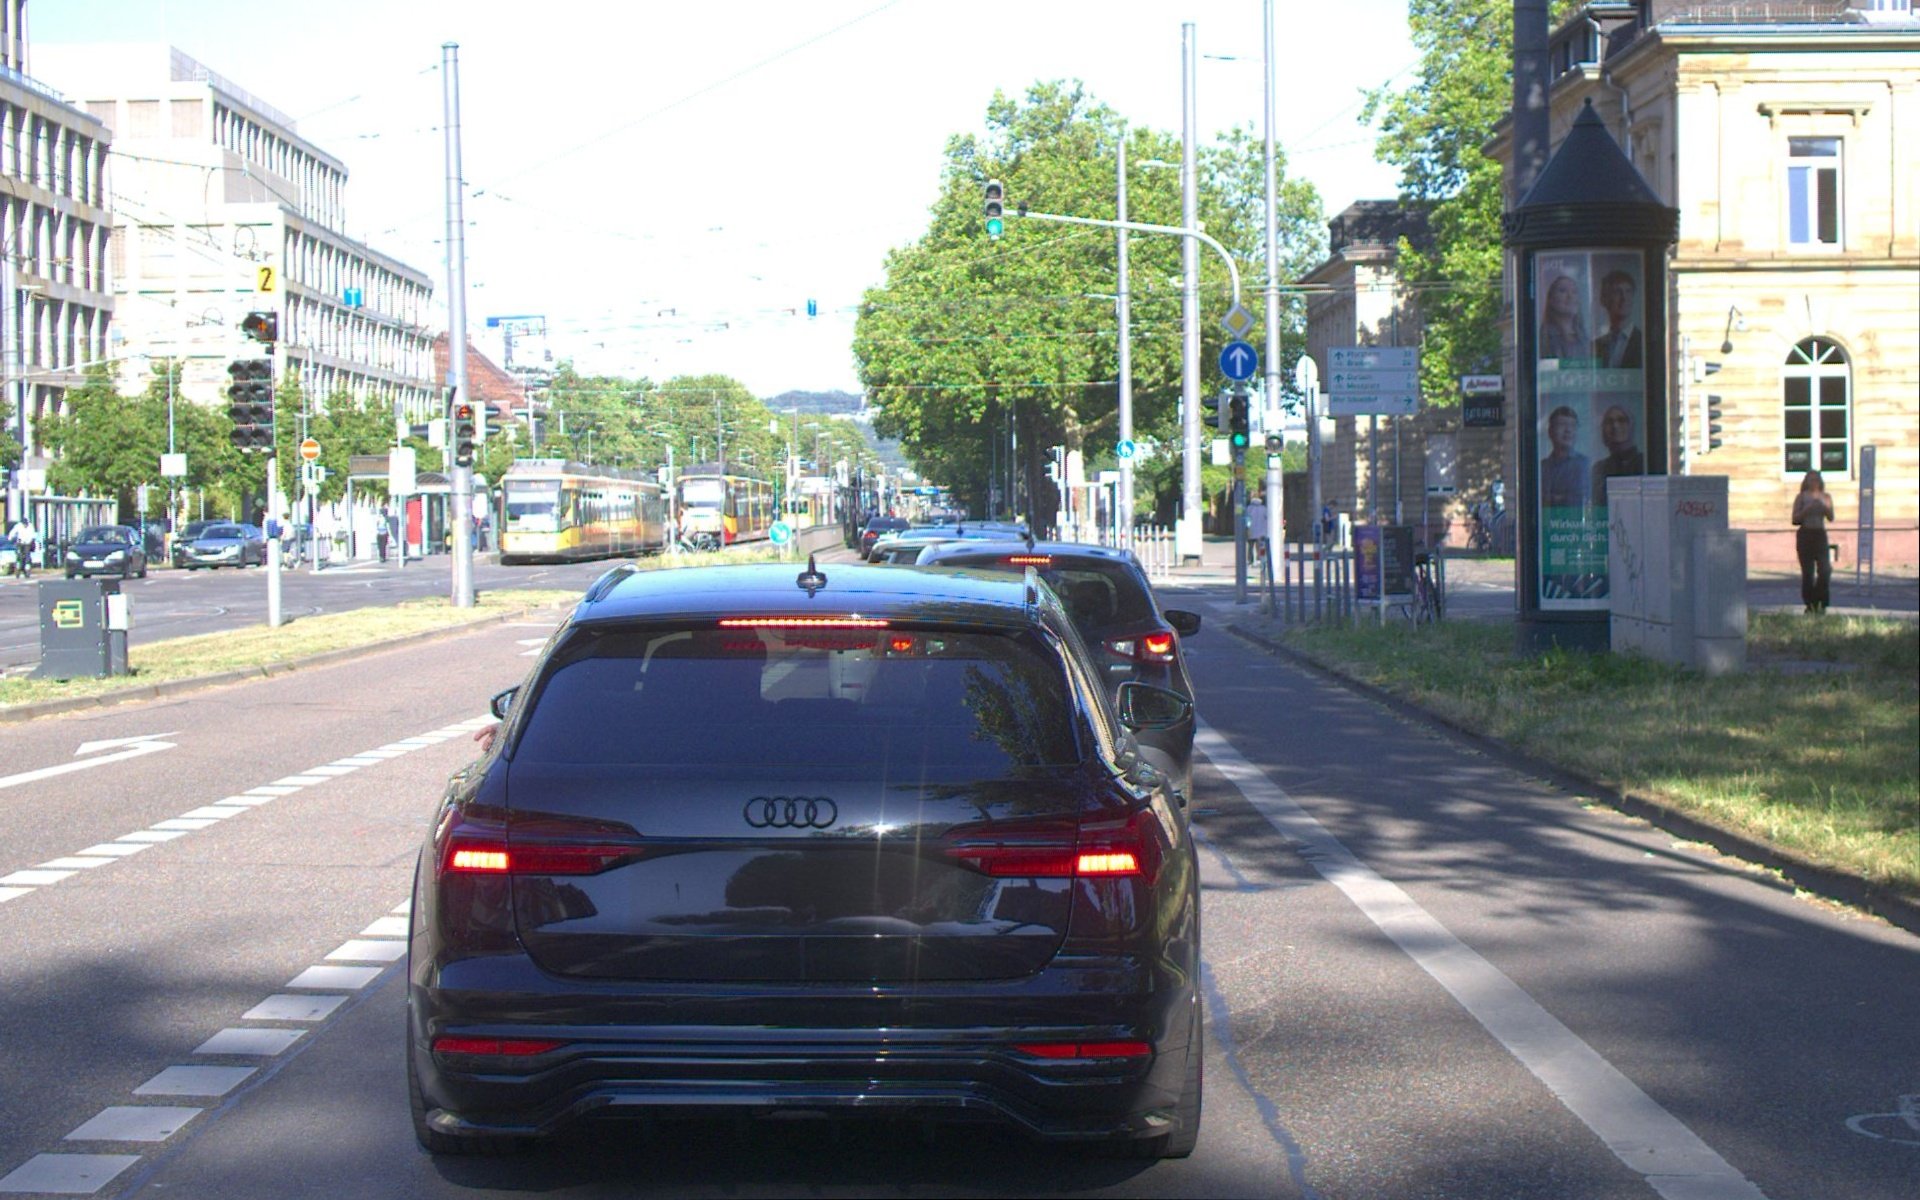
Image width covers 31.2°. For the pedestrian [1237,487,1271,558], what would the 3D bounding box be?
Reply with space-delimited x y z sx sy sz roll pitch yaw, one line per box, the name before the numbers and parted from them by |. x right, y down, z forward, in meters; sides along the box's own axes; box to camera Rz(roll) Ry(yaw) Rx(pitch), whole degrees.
pedestrian | 6.953 -1.843 81.350 0.682 1.655 0.758 -1 1 -2

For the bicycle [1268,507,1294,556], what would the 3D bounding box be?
bicycle | 7.580 -1.629 81.296 0.434 1.141 1.340 -1 2 -2

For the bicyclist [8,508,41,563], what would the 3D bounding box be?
bicyclist | -26.873 -1.859 98.756 0.685 1.557 0.785 -1 1 1

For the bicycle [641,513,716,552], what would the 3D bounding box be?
bicycle | -8.143 -1.966 99.587 2.005 1.104 0.765 -2 2 -28

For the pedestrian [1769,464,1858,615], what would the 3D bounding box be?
pedestrian | 9.887 -0.705 39.863 0.769 1.703 1.042 -1 1 1

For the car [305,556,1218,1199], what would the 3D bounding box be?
car | -0.412 0.605 9.265 1.902 1.417 4.145 0 1 0

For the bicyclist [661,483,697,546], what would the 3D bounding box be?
bicyclist | -8.146 -2.479 99.584 0.756 1.812 0.765 -2 2 -28

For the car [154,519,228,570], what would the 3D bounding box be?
car | -28.214 -2.053 126.200 1.842 1.806 4.113 -1 1 -1

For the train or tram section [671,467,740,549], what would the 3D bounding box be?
train or tram section | -11.221 -4.093 152.369 2.608 3.439 11.134 -1 2 -2

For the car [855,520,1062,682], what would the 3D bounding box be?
car | -0.009 -0.029 33.803 1.902 1.481 4.145 0 1 0

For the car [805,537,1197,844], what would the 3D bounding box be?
car | 0.204 0.406 18.832 1.902 1.481 4.145 0 1 0

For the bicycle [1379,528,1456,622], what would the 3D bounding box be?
bicycle | 5.368 -0.308 40.434 0.540 1.058 1.772 -1 2 -4

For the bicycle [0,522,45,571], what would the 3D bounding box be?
bicycle | -26.936 -1.537 98.776 0.685 1.377 1.947 -1 1 1

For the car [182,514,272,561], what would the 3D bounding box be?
car | -23.554 -2.023 110.611 1.820 1.452 4.540 -1 1 1

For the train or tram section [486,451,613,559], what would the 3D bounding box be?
train or tram section | -14.041 -3.283 118.524 2.813 3.477 13.205 -1 2 0

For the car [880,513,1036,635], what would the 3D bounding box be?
car | -0.024 -0.357 44.276 1.902 1.481 4.145 0 1 0

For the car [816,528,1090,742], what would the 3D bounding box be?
car | -0.045 0.210 26.131 1.902 1.481 4.145 0 1 0

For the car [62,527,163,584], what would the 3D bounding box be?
car | -22.731 -1.205 92.336 1.820 1.452 4.166 -1 1 -3

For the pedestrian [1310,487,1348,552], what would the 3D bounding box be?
pedestrian | 10.680 -2.331 99.448 0.979 1.859 0.827 -1 1 -1

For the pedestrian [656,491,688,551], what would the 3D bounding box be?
pedestrian | -8.456 -2.320 101.077 0.739 1.735 0.664 -1 2 -24
